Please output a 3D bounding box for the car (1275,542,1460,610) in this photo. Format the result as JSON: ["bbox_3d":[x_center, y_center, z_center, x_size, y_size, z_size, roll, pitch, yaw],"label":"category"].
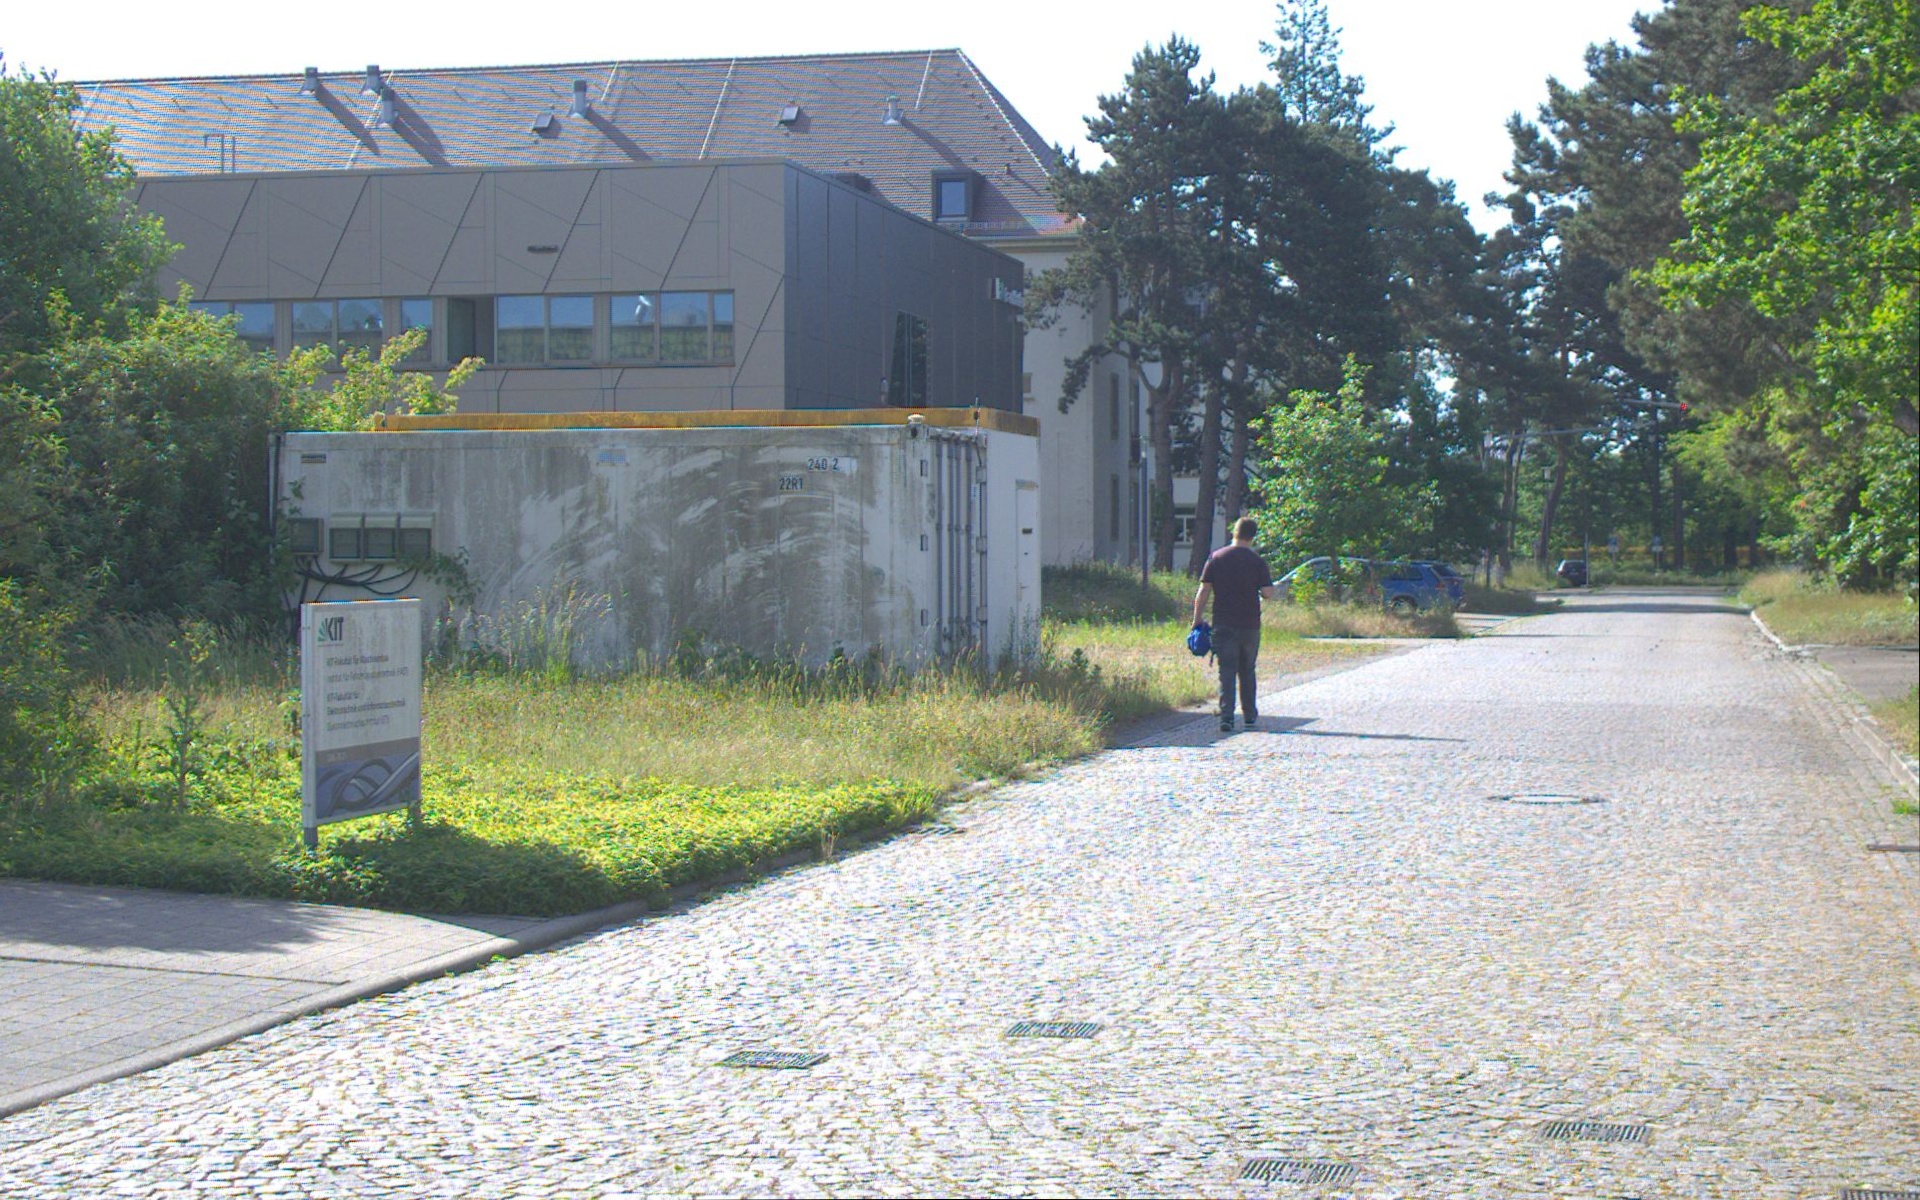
[{"bbox_3d":[8.730,-0.521,73.523,3.835,1.436,1.582,0,1,10],"label":"car"}]

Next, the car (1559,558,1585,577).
[{"bbox_3d":[34.403,-1.837,193.337,1.370,1.095,2.862,0,1,9],"label":"car"}]

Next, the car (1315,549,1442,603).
[{"bbox_3d":[9.811,-0.569,80.680,2.902,1.255,1.288,0,1,4],"label":"car"}]

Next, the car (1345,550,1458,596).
[{"bbox_3d":[11.532,-0.706,89.901,2.854,1.202,1.374,0,1,4],"label":"car"}]

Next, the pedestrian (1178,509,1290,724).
[{"bbox_3d":[2.341,0.131,29.283,0.795,1.774,1.068,2,1,11],"label":"pedestrian"}]
